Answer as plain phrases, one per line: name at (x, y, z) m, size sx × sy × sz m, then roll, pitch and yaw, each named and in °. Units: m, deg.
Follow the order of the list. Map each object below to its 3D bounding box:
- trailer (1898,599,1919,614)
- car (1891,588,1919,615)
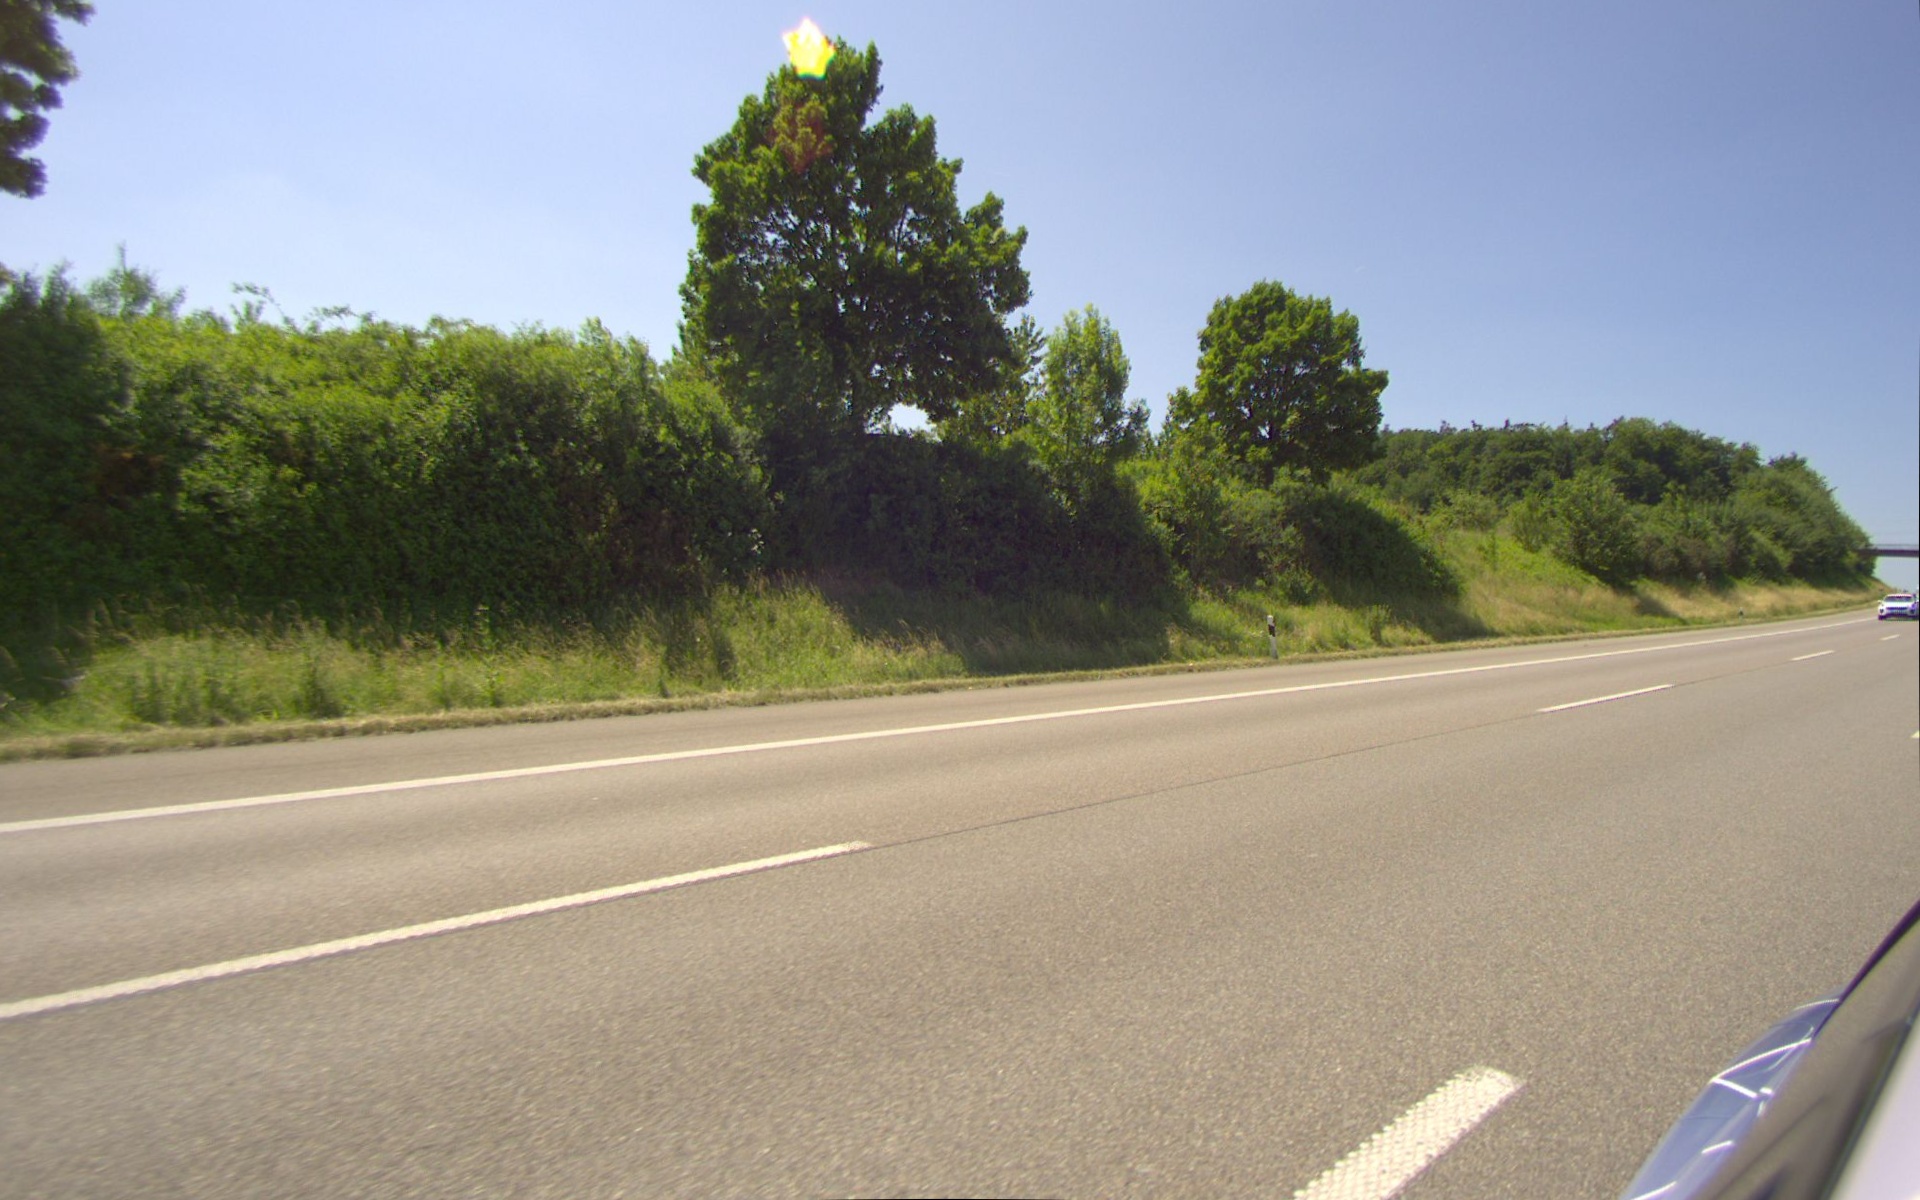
trailer at (63.777, 0.411, 67.345) m, size 4.247 × 0.920 × 1.756 m, roll -1°, pitch 1°, yaw -44°
car at (60.662, 0.073, 64.391) m, size 4.329 × 1.672 × 1.783 m, roll 0°, pitch 0°, yaw -43°
